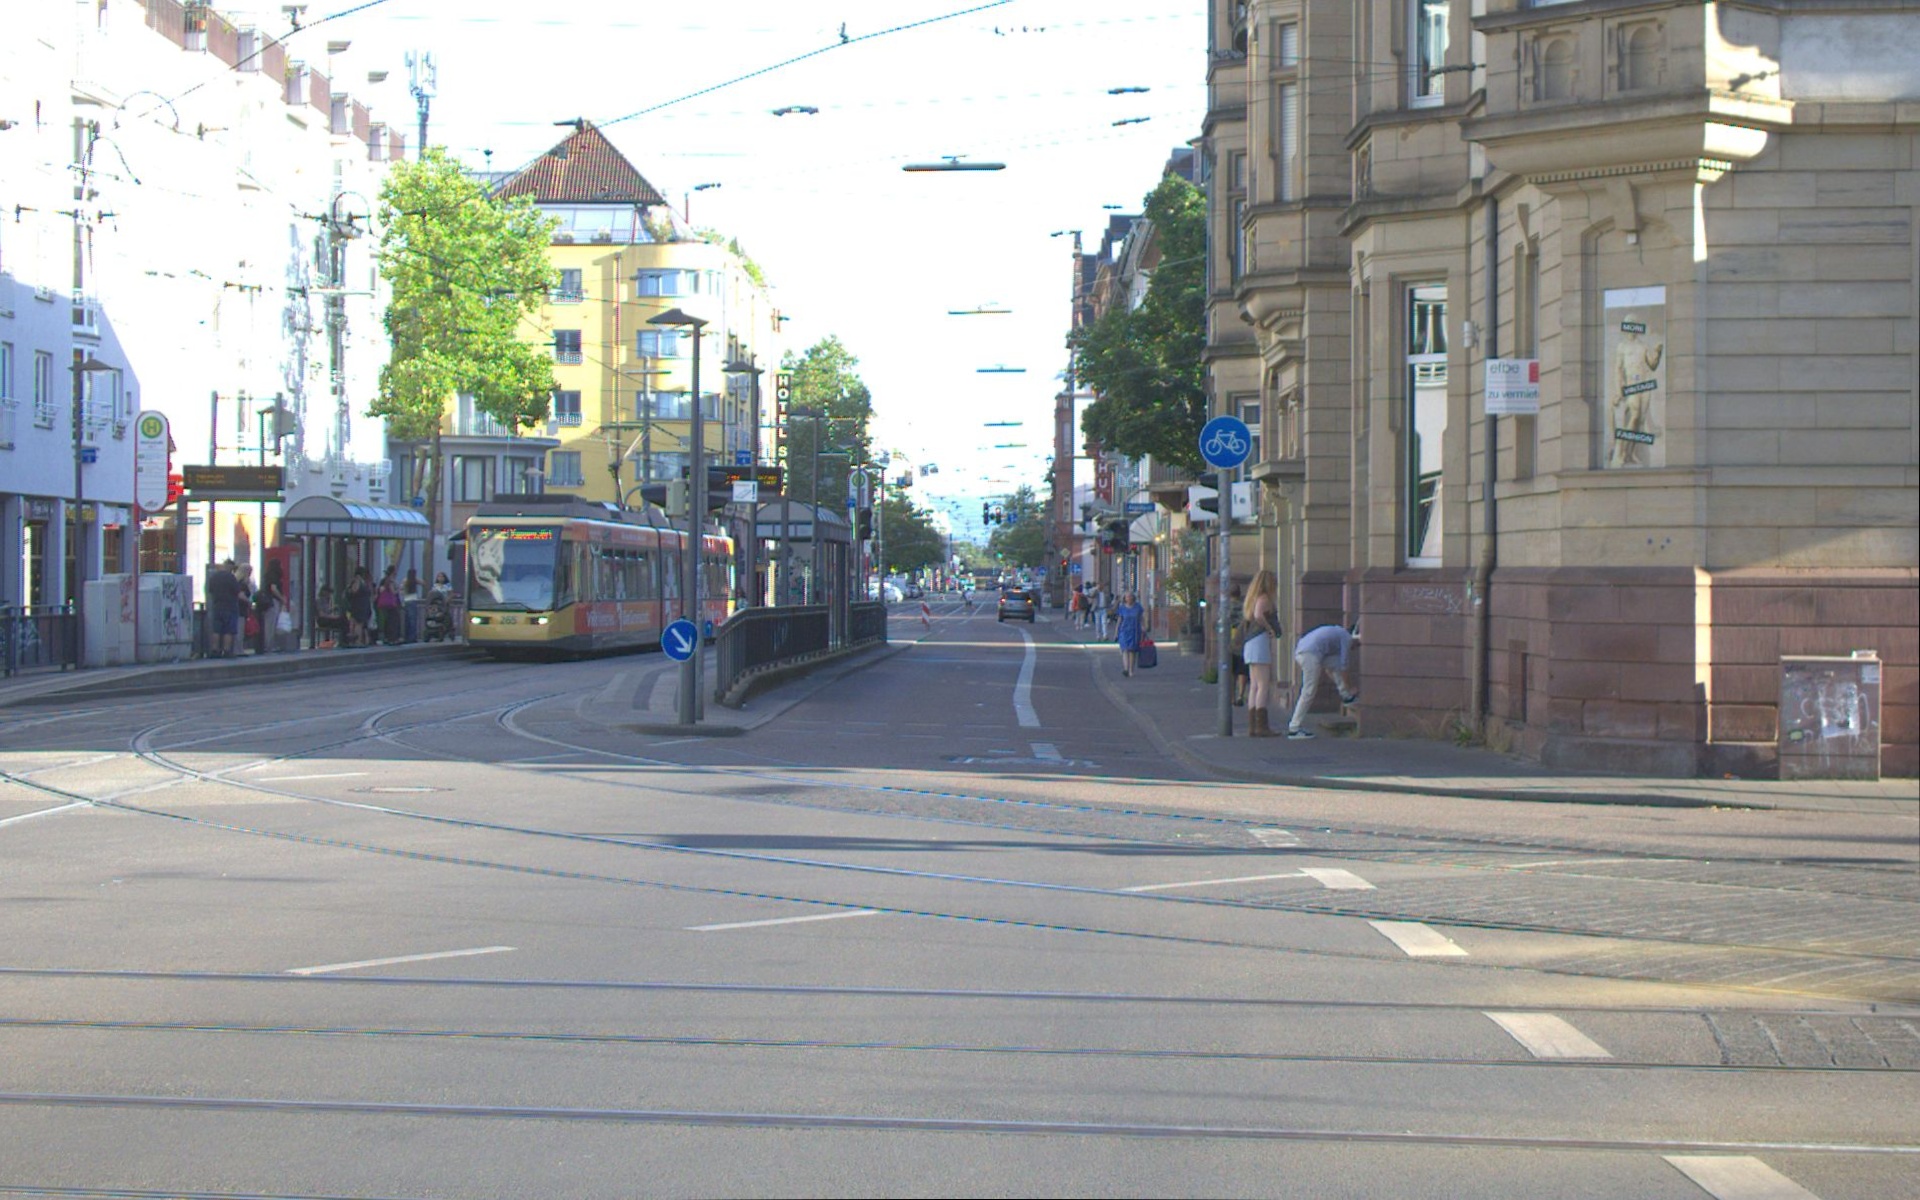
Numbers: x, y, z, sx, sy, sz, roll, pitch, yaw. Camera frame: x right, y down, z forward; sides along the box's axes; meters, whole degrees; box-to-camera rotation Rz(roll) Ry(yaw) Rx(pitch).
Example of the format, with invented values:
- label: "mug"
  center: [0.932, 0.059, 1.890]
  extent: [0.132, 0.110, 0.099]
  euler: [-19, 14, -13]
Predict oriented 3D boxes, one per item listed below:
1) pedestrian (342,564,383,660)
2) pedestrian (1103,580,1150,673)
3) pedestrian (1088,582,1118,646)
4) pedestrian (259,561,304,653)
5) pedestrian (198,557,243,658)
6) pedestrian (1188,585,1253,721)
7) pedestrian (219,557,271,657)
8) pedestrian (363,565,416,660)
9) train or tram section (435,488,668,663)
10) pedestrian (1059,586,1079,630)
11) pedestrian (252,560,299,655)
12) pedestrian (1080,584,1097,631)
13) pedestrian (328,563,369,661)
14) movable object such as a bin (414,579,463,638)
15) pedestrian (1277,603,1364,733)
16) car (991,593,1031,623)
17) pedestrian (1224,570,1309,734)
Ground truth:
- label: "pedestrian"
  center: [-11.866, 0.241, 68.245]
  extent: [0.695, 1.898, 0.672]
  euler: [0, 0, -2]
- label: "pedestrian"
  center: [3.012, 0.470, 62.240]
  extent: [0.762, 1.640, 0.832]
  euler: [-1, 1, 1]
- label: "pedestrian"
  center: [4.024, 0.395, 97.050]
  extent: [0.713, 1.768, 0.773]
  euler: [-2, 1, -2]
- label: "pedestrian"
  center: [-12.566, 0.132, 63.662]
  extent: [0.695, 1.685, 0.672]
  euler: [1, 0, -23]
- label: "pedestrian"
  center: [-12.406, 0.122, 57.656]
  extent: [0.599, 1.686, 0.613]
  euler: [0, 0, 1]
- label: "pedestrian"
  center: [3.570, 0.721, 47.138]
  extent: [0.801, 1.818, 0.797]
  euler: [-1, 1, 1]
- label: "pedestrian"
  center: [-12.422, 0.127, 59.732]
  extent: [0.765, 1.727, 0.519]
  euler: [0, 0, 43]
- label: "pedestrian"
  center: [-11.590, 0.255, 69.888]
  extent: [0.931, 1.898, 0.881]
  euler: [0, 0, -2]
- label: "train or tram section"
  center: [-8.839, -0.601, 76.397]
  extent: [2.885, 3.478, 14.167]
  euler: [-1, 1, 2]
- label: "pedestrian"
  center: [4.778, 0.347, 151.177]
  extent: [0.843, 1.911, 0.661]
  euler: [0, 0, -1]
- label: "pedestrian"
  center: [-12.323, 0.136, 61.851]
  extent: [0.695, 1.685, 0.672]
  euler: [1, 0, -23]
- label: "pedestrian"
  center: [4.946, 0.283, 132.466]
  extent: [0.560, 1.790, 0.650]
  euler: [0, 0, 8]
- label: "pedestrian"
  center: [-12.038, 0.234, 67.689]
  extent: [0.695, 1.898, 0.672]
  euler: [0, 0, -2]
- label: "movable object such as a bin"
  center: [-11.524, 0.189, 75.962]
  extent: [0.937, 1.282, 0.935]
  euler: [0, 0, -1]
- label: "pedestrian"
  center: [3.754, 0.707, 35.820]
  extent: [0.794, 1.327, 0.719]
  euler: [-1, -1, -1]
- label: "car"
  center: [2.555, 0.387, 173.520]
  extent: [1.993, 1.444, 4.000]
  euler: [1, 0, 1]
- label: "pedestrian"
  center: [3.259, 0.552, 36.590]
  extent: [0.794, 1.715, 0.719]
  euler: [-1, -1, -1]
